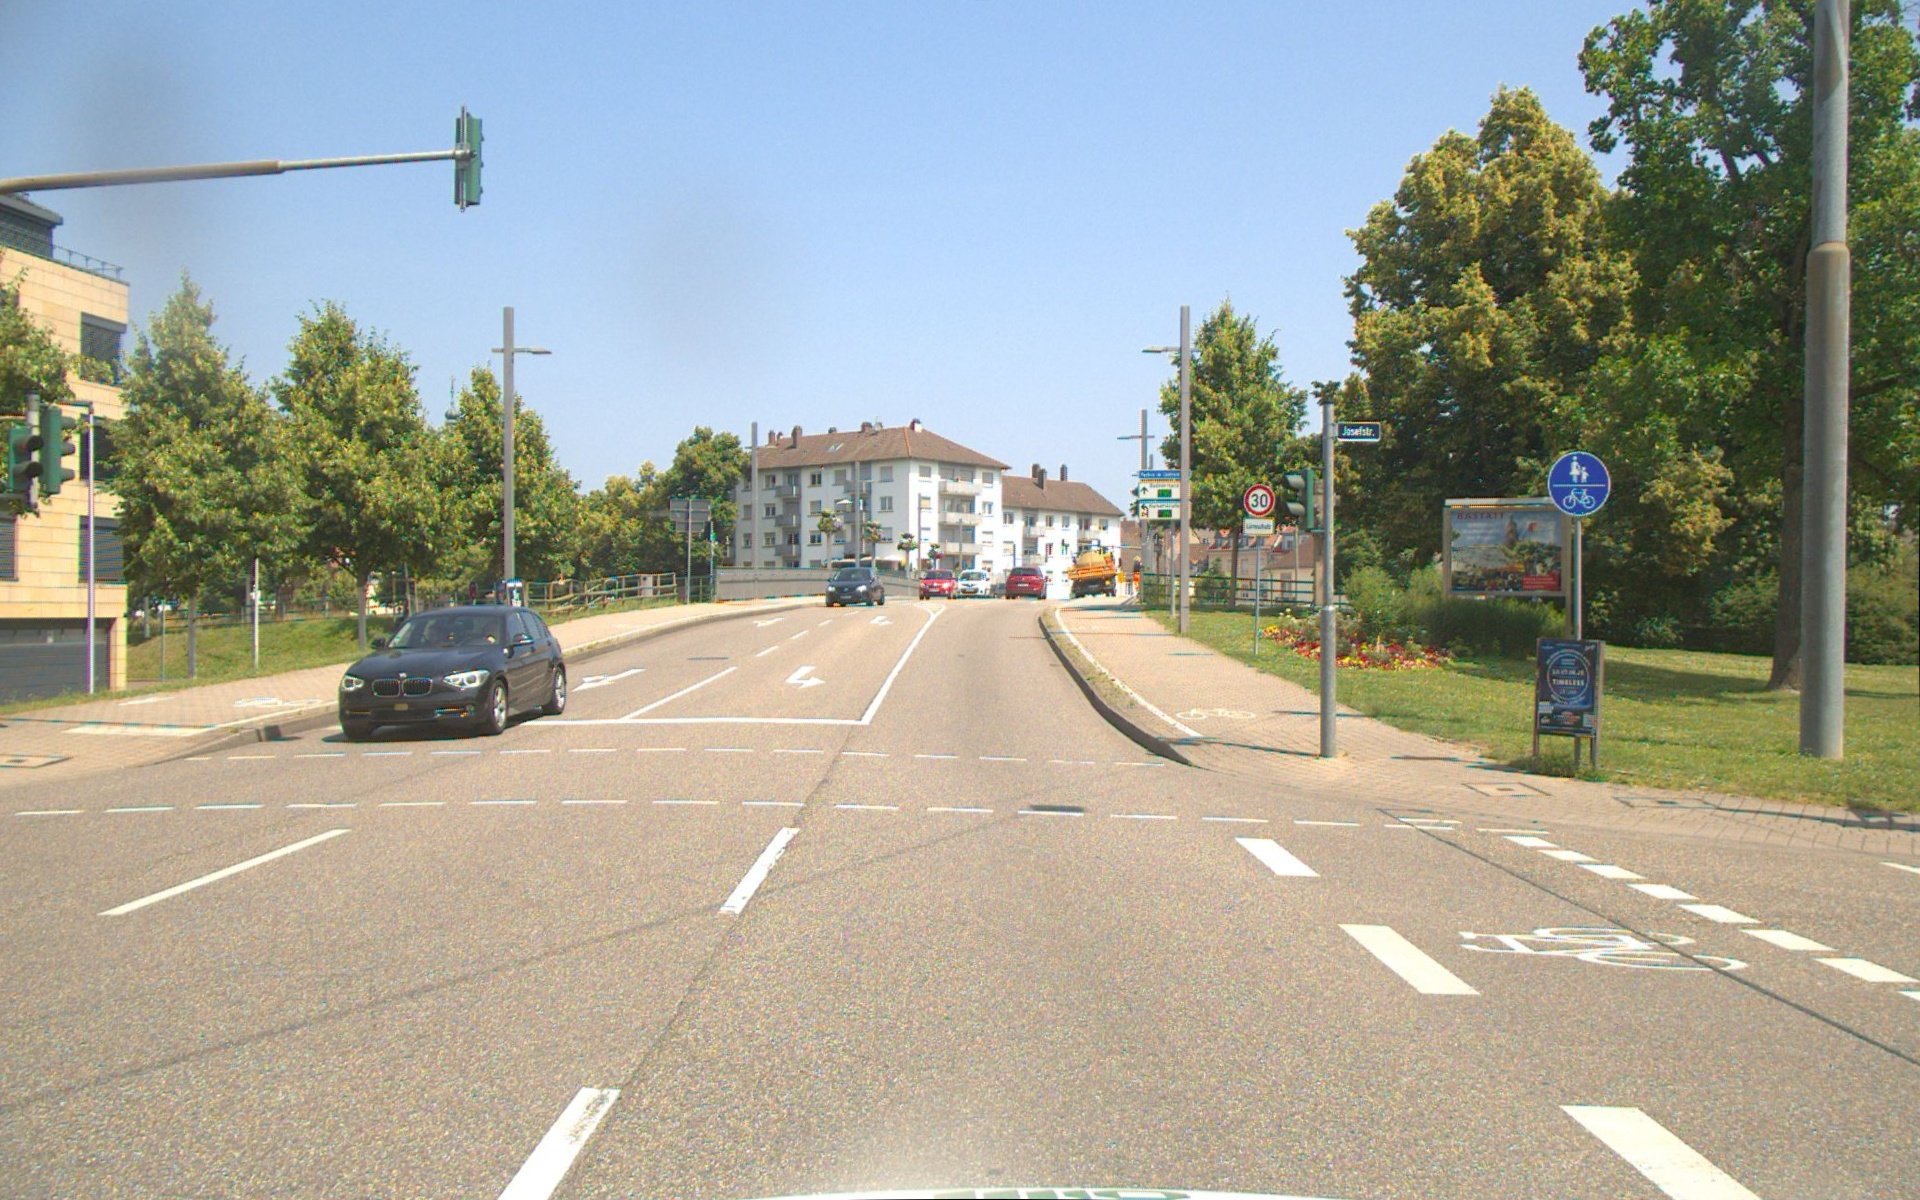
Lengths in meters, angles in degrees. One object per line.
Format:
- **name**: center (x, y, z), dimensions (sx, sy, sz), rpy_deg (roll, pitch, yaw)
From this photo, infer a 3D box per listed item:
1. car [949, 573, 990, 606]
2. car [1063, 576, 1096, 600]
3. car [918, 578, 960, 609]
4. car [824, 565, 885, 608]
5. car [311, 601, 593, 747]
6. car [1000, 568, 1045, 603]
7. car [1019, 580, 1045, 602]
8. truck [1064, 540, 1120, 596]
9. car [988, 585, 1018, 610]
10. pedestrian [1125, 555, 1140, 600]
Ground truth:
- **car**: center (0.601, -0.629, 99.806), dimensions (1.798, 1.893, 4.667), rpy_deg (-2, -1, 8)
- **car**: center (8.186, -0.790, 112.681), dimensions (1.995, 1.529, 4.420), rpy_deg (1, -1, 7)
- **car**: center (-1.018, -0.317, 81.810), dimensions (1.612, 1.489, 3.864), rpy_deg (0, 0, 7)
- **car**: center (-3.978, -0.499, 62.951), dimensions (1.678, 1.511, 4.034), rpy_deg (1, -1, 6)
- **car**: center (-5.878, 0.795, 19.666), dimensions (1.798, 1.423, 4.052), rpy_deg (-3, 0, 4)
- **car**: center (3.096, -0.682, 81.328), dimensions (1.948, 1.641, 4.345), rpy_deg (-1, 0, 5)
- **car**: center (5.951, -0.739, 135.951), dimensions (1.646, 1.738, 3.855), rpy_deg (1, -1, 10)
- **truck**: center (6.842, -1.609, 84.889), dimensions (2.550, 2.738, 5.828), rpy_deg (0, 0, 8)
- **car**: center (3.089, -0.150, 118.221), dimensions (1.700, 1.669, 3.924), rpy_deg (-3, -1, 8)
- **pedestrian**: center (7.769, -1.008, 74.572), dimensions (0.536, 1.994, 0.672), rpy_deg (0, -1, -4)
